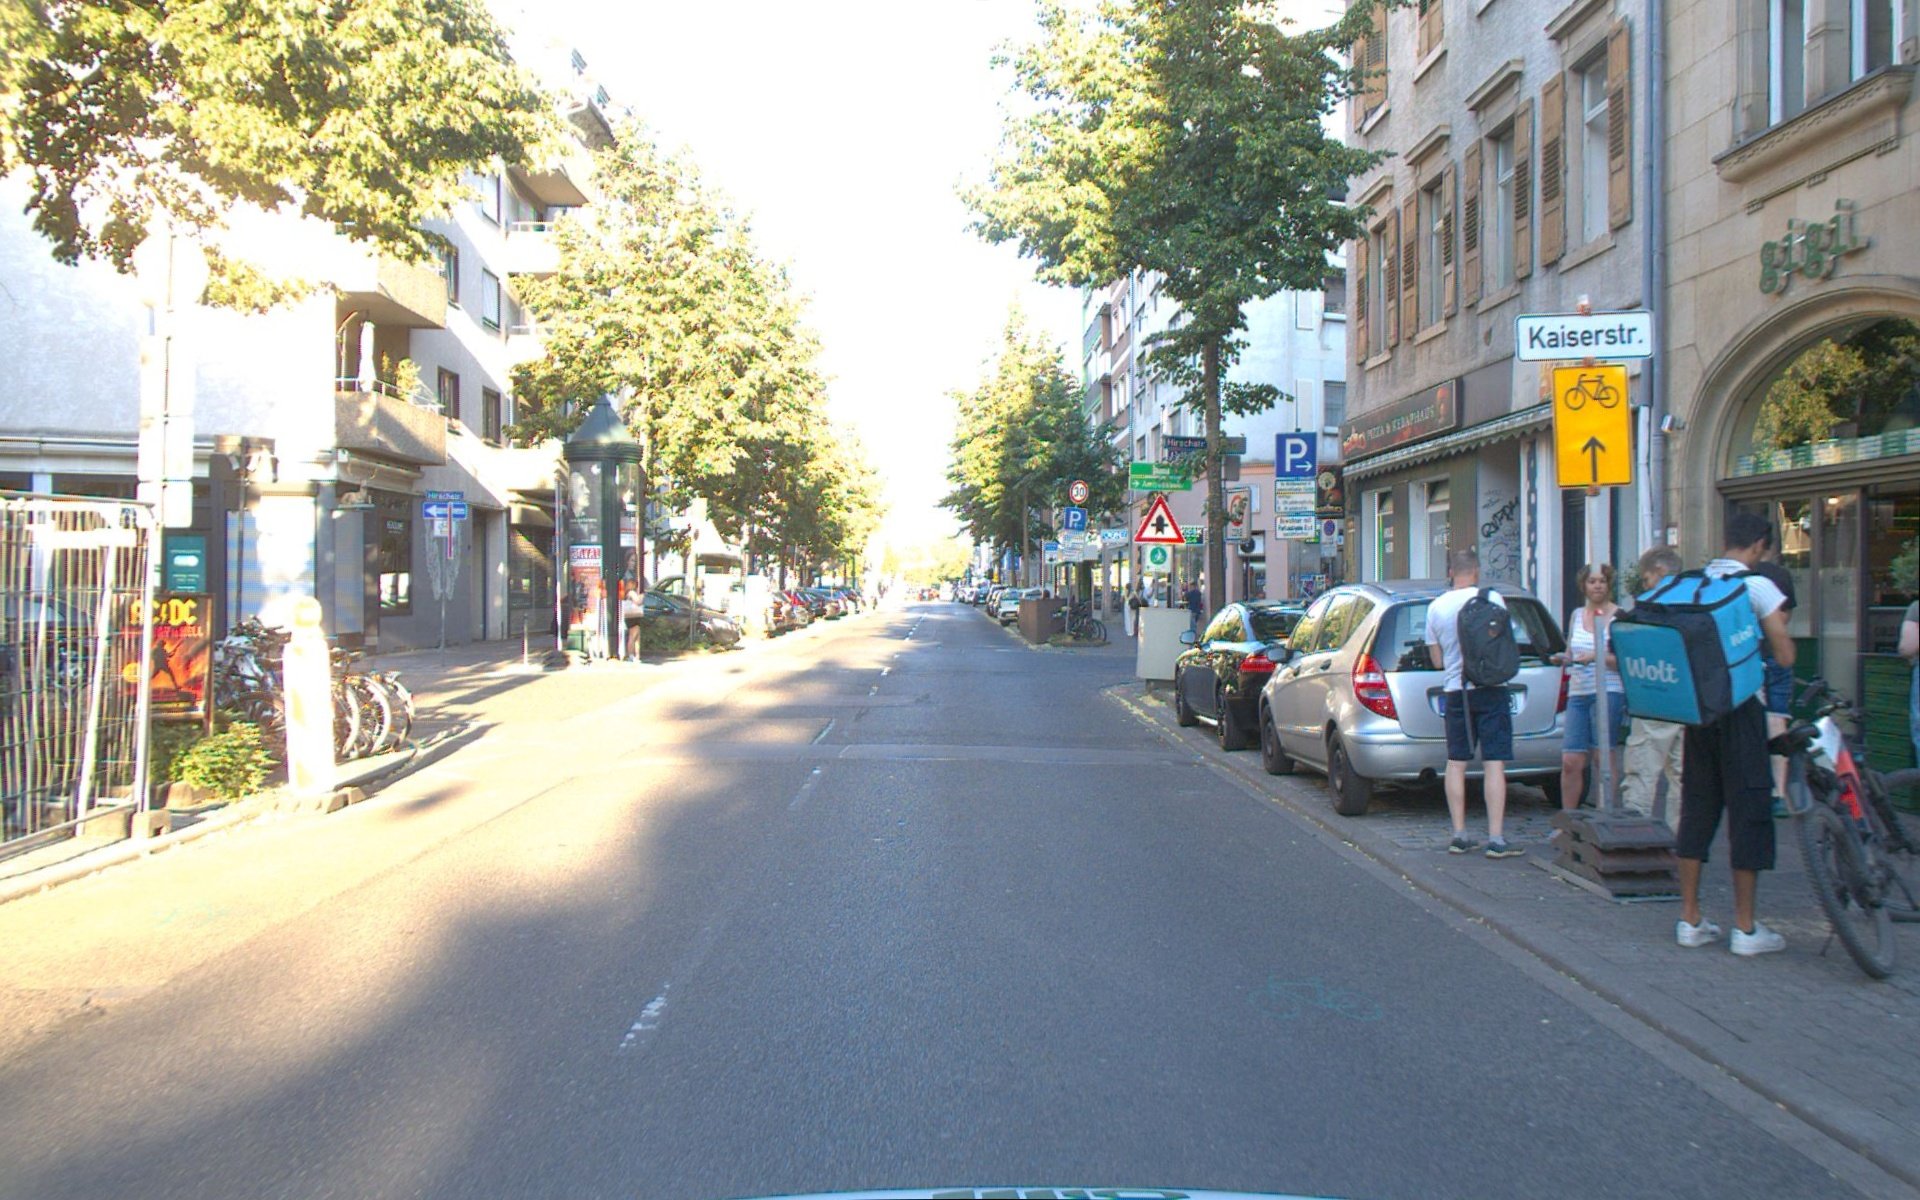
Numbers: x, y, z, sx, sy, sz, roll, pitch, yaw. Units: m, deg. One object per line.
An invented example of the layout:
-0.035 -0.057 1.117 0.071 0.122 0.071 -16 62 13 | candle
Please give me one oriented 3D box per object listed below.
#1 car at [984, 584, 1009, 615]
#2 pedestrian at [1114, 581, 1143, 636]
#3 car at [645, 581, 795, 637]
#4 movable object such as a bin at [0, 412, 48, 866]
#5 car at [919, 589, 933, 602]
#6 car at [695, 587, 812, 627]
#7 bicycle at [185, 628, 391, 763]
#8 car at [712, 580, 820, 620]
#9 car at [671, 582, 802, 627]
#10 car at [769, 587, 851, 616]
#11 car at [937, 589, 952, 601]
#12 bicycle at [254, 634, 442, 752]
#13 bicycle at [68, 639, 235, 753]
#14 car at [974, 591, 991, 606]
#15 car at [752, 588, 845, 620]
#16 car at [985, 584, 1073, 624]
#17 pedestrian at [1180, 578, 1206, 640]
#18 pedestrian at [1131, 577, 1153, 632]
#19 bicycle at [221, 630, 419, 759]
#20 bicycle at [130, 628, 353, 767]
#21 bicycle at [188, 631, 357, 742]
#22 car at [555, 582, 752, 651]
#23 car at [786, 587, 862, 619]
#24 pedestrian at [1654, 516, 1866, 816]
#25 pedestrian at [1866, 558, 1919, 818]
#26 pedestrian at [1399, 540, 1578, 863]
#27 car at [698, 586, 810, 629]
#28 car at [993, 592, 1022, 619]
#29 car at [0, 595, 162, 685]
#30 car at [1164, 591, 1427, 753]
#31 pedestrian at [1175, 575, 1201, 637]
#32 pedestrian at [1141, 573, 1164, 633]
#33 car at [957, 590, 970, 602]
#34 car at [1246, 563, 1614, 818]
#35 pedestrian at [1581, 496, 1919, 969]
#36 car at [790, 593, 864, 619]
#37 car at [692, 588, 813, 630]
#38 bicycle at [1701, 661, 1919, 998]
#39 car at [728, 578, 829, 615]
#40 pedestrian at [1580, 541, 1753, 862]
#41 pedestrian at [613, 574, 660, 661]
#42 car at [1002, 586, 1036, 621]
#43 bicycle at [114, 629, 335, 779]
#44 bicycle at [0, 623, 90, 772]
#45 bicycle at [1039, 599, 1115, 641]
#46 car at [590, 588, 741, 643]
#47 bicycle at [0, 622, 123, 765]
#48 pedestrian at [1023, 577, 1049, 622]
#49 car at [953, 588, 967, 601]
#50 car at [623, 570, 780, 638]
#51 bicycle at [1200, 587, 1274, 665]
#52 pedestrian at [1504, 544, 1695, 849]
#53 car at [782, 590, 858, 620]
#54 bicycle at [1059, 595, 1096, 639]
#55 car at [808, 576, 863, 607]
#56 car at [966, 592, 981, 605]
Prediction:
2.235 -0.025 101.180 1.482 1.897 4.235 0 0 1 | car
5.162 0.261 50.657 0.779 1.654 0.913 0 0 12 | pedestrian
-7.686 0.287 53.253 4.478 1.727 2.060 1 0 0 | car
-7.942 0.225 8.091 2.273 2.539 5.719 0 0 42 | movable object such as a bin
-4.293 -0.531 209.059 1.716 1.567 3.304 0 0 0 | car
-8.097 0.280 65.232 4.351 1.484 1.859 1 0 0 | car
-5.990 0.840 14.762 1.647 1.097 0.445 2 -1 7 | bicycle
-8.209 -0.004 70.219 4.351 1.595 1.919 1 0 0 | car
-7.837 0.157 58.309 4.351 1.532 1.844 1 0 0 | car
-8.362 0.063 92.324 4.351 1.549 1.919 1 0 0 | car
-1.932 -0.659 206.687 1.685 1.501 3.304 0 0 0 | car
-5.944 0.894 16.072 1.647 1.039 0.445 3 -1 7 | bicycle
-7.411 0.874 15.188 1.296 0.997 0.444 1 -1 3 | bicycle
1.992 -0.109 148.776 1.482 1.298 3.304 0 0 0 | car
-7.911 0.181 81.457 4.351 1.474 1.919 1 0 0 | car
2.912 0.155 69.340 1.645 1.616 3.800 1 0 42 | car
6.160 0.227 43.765 0.555 1.611 0.663 -1 1 -1 | pedestrian
5.647 0.136 51.342 0.618 1.709 0.892 0 0 3 | pedestrian
-5.923 0.862 15.333 1.647 1.097 0.445 2 -1 7 | bicycle
-6.138 0.825 14.168 1.649 1.097 0.444 3 -1 -1 | bicycle
-6.893 0.867 16.620 1.458 1.077 0.470 1 -1 -7 | bicycle
-7.400 0.388 40.259 4.454 1.568 1.810 1 0 -2 | car
-8.113 0.176 98.829 4.351 1.789 1.919 1 0 0 | car
5.351 0.418 11.132 0.806 1.886 1.097 -2 0 -2 | pedestrian
6.179 0.530 10.283 0.645 1.589 0.701 -2 0 -1 | pedestrian
3.051 0.558 9.609 0.665 1.785 0.823 -1 0 -11 | pedestrian
-8.447 0.304 67.984 4.351 1.667 1.859 1 0 0 | car
2.566 0.285 89.413 1.482 1.430 3.837 0 0 0 | car
-15.331 0.629 26.899 4.139 1.404 1.985 0 0 -24 | car
3.363 0.646 17.465 1.749 1.399 4.523 -3 1 -1 | car
6.140 0.150 44.529 0.555 1.627 0.663 -1 1 -1 | pedestrian
6.012 0.093 51.590 0.683 1.836 0.892 0 0 8 | pedestrian
0.431 -0.418 189.752 1.482 1.321 3.304 0 0 0 | car
3.443 0.576 12.898 1.652 1.602 4.013 -3 0 0 | car
3.360 0.523 7.087 0.995 1.857 0.778 -3 0 -11 | pedestrian
-8.166 0.371 101.947 4.351 1.525 1.919 1 0 0 | car
-7.860 0.332 62.930 4.351 1.510 1.809 1 0 0 | car
3.865 0.880 7.035 0.850 1.118 1.918 -2 1 38 | bicycle
-8.193 -0.144 74.933 4.351 1.595 1.919 1 0 0 | car
4.024 0.552 9.417 0.648 1.730 0.657 -3 0 -45 | pedestrian
-6.452 0.340 33.016 0.695 1.716 0.834 0 0 8 | pedestrian
2.751 0.171 77.564 1.482 1.605 3.218 0 0 1 | car
-5.887 0.835 13.280 1.530 1.136 0.439 3 -1 -34 | bicycle
-8.021 0.772 13.445 1.647 1.169 0.444 1 -1 3 | bicycle
3.147 0.530 44.561 1.918 1.092 0.704 0 0 31 | bicycle
-8.085 0.431 45.602 3.712 1.416 2.044 1 -1 2 | car
-8.058 0.774 14.055 1.647 1.169 0.444 1 -1 3 | bicycle
3.353 -0.034 72.615 0.900 1.959 1.015 1 0 -11 | pedestrian
0.031 -0.637 201.369 1.716 1.567 3.304 0 0 0 | car
-7.845 0.119 50.582 4.478 1.996 1.990 1 0 -1 | car
4.181 0.381 25.134 0.762 1.131 1.899 -1 0 -1 | bicycle
3.857 0.552 10.023 0.666 1.735 0.822 -3 0 -15 | pedestrian
-8.170 0.289 96.725 4.216 1.626 1.919 1 0 0 | car
3.275 0.465 46.023 0.585 1.198 1.847 0 0 19 | bicycle
-10.230 -0.697 136.249 4.351 2.477 1.919 1 0 0 | car
1.323 -0.099 166.972 1.482 1.285 3.304 0 0 0 | car
